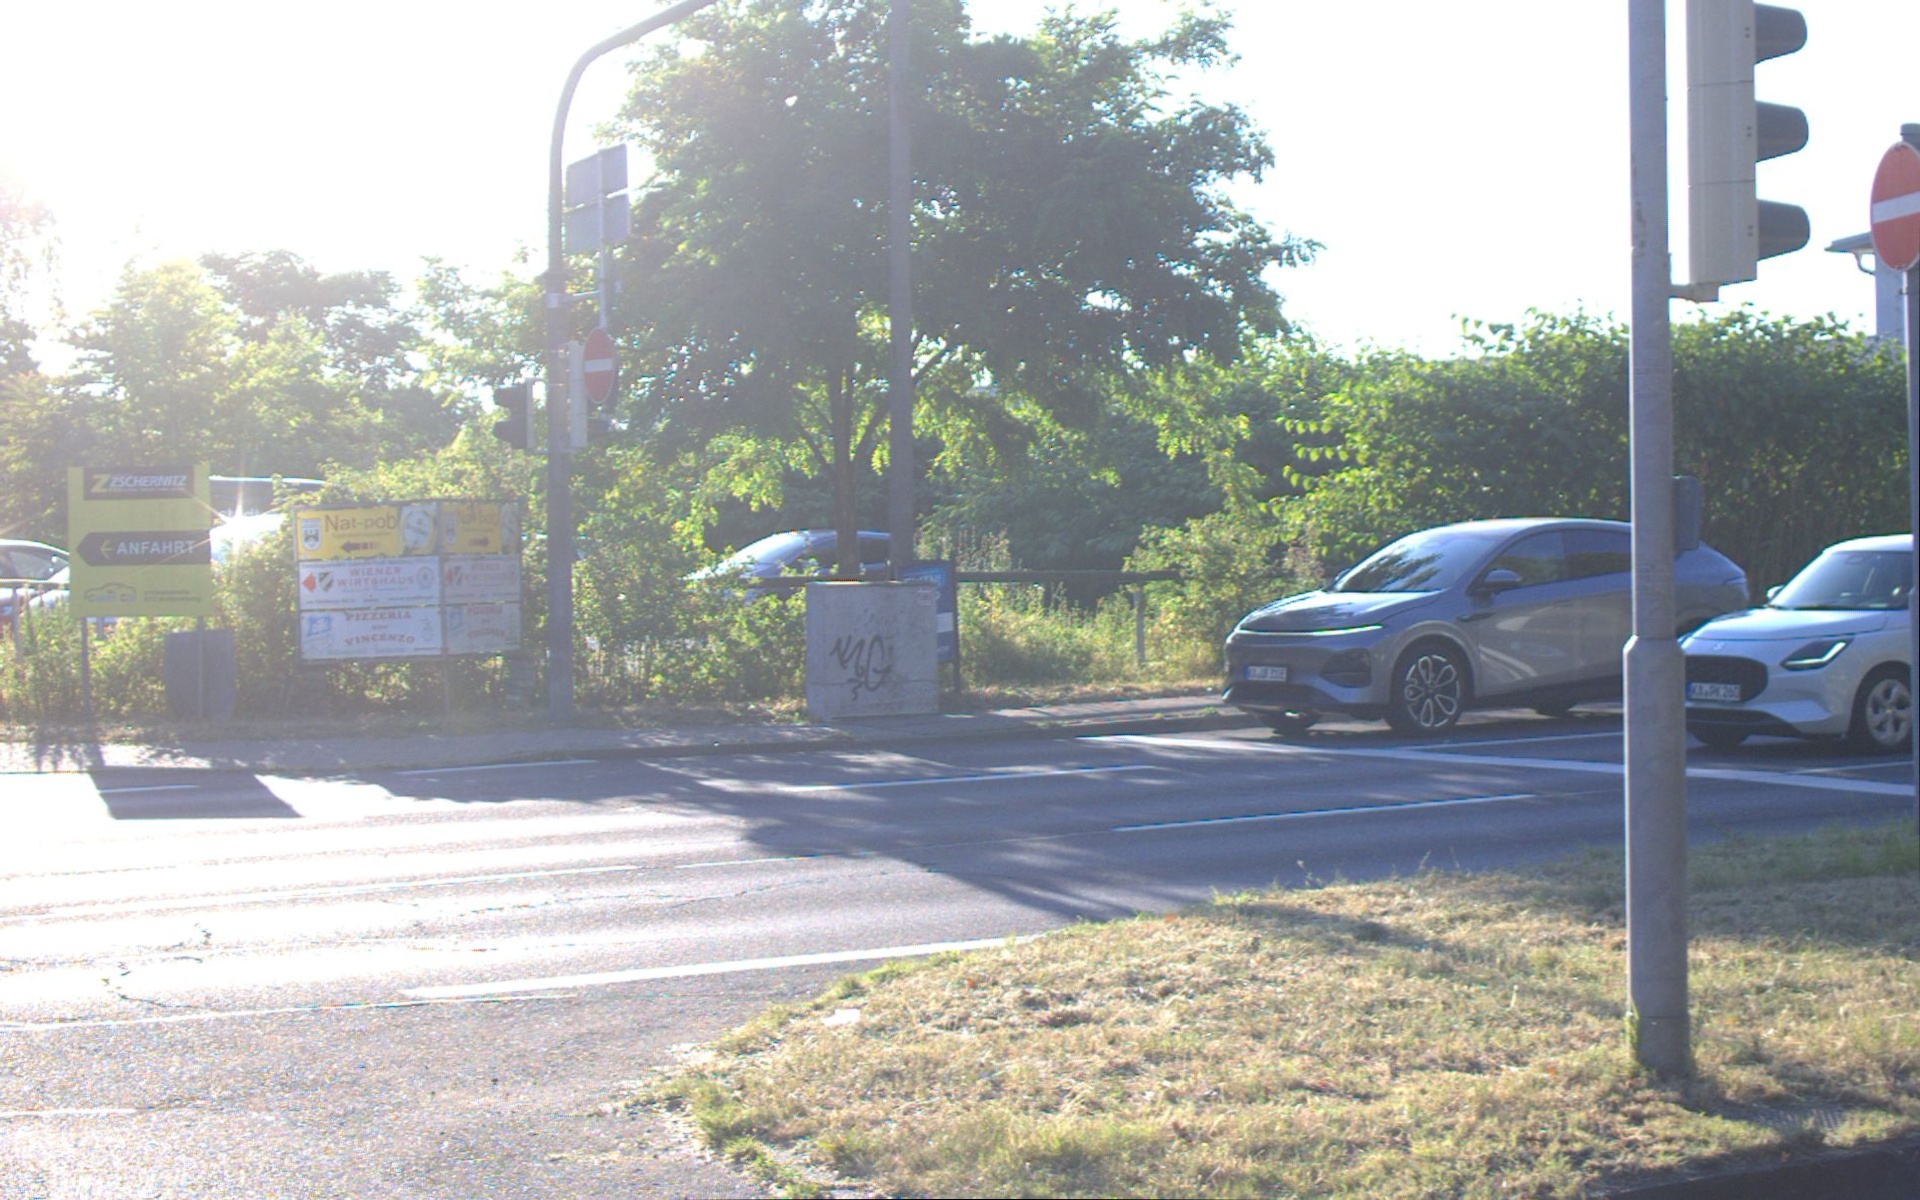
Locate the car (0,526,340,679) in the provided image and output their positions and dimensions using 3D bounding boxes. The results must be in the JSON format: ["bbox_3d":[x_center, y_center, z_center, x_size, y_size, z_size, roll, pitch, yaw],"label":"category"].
[{"bbox_3d":[-9.484,-0.011,39.860,3.987,1.643,2.120,-1,2,-34],"label":"car"}]

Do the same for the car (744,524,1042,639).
[{"bbox_3d":[-1.017,-0.307,51.934,3.986,1.631,2.121,-1,2,-24],"label":"car"}]

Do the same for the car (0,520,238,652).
[{"bbox_3d":[-11.910,-0.202,45.036,4.306,1.643,2.120,-1,2,-34],"label":"car"}]

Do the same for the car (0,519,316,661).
[{"bbox_3d":[-10.431,-0.162,42.652,4.306,1.643,2.120,-1,2,-34],"label":"car"}]

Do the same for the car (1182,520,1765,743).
[{"bbox_3d":[4.171,0.189,27.638,4.533,1.612,1.876,-2,2,-33],"label":"car"}]

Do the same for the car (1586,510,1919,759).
[{"bbox_3d":[6.586,0.174,24.398,3.987,1.612,1.876,-2,2,-32],"label":"car"}]
